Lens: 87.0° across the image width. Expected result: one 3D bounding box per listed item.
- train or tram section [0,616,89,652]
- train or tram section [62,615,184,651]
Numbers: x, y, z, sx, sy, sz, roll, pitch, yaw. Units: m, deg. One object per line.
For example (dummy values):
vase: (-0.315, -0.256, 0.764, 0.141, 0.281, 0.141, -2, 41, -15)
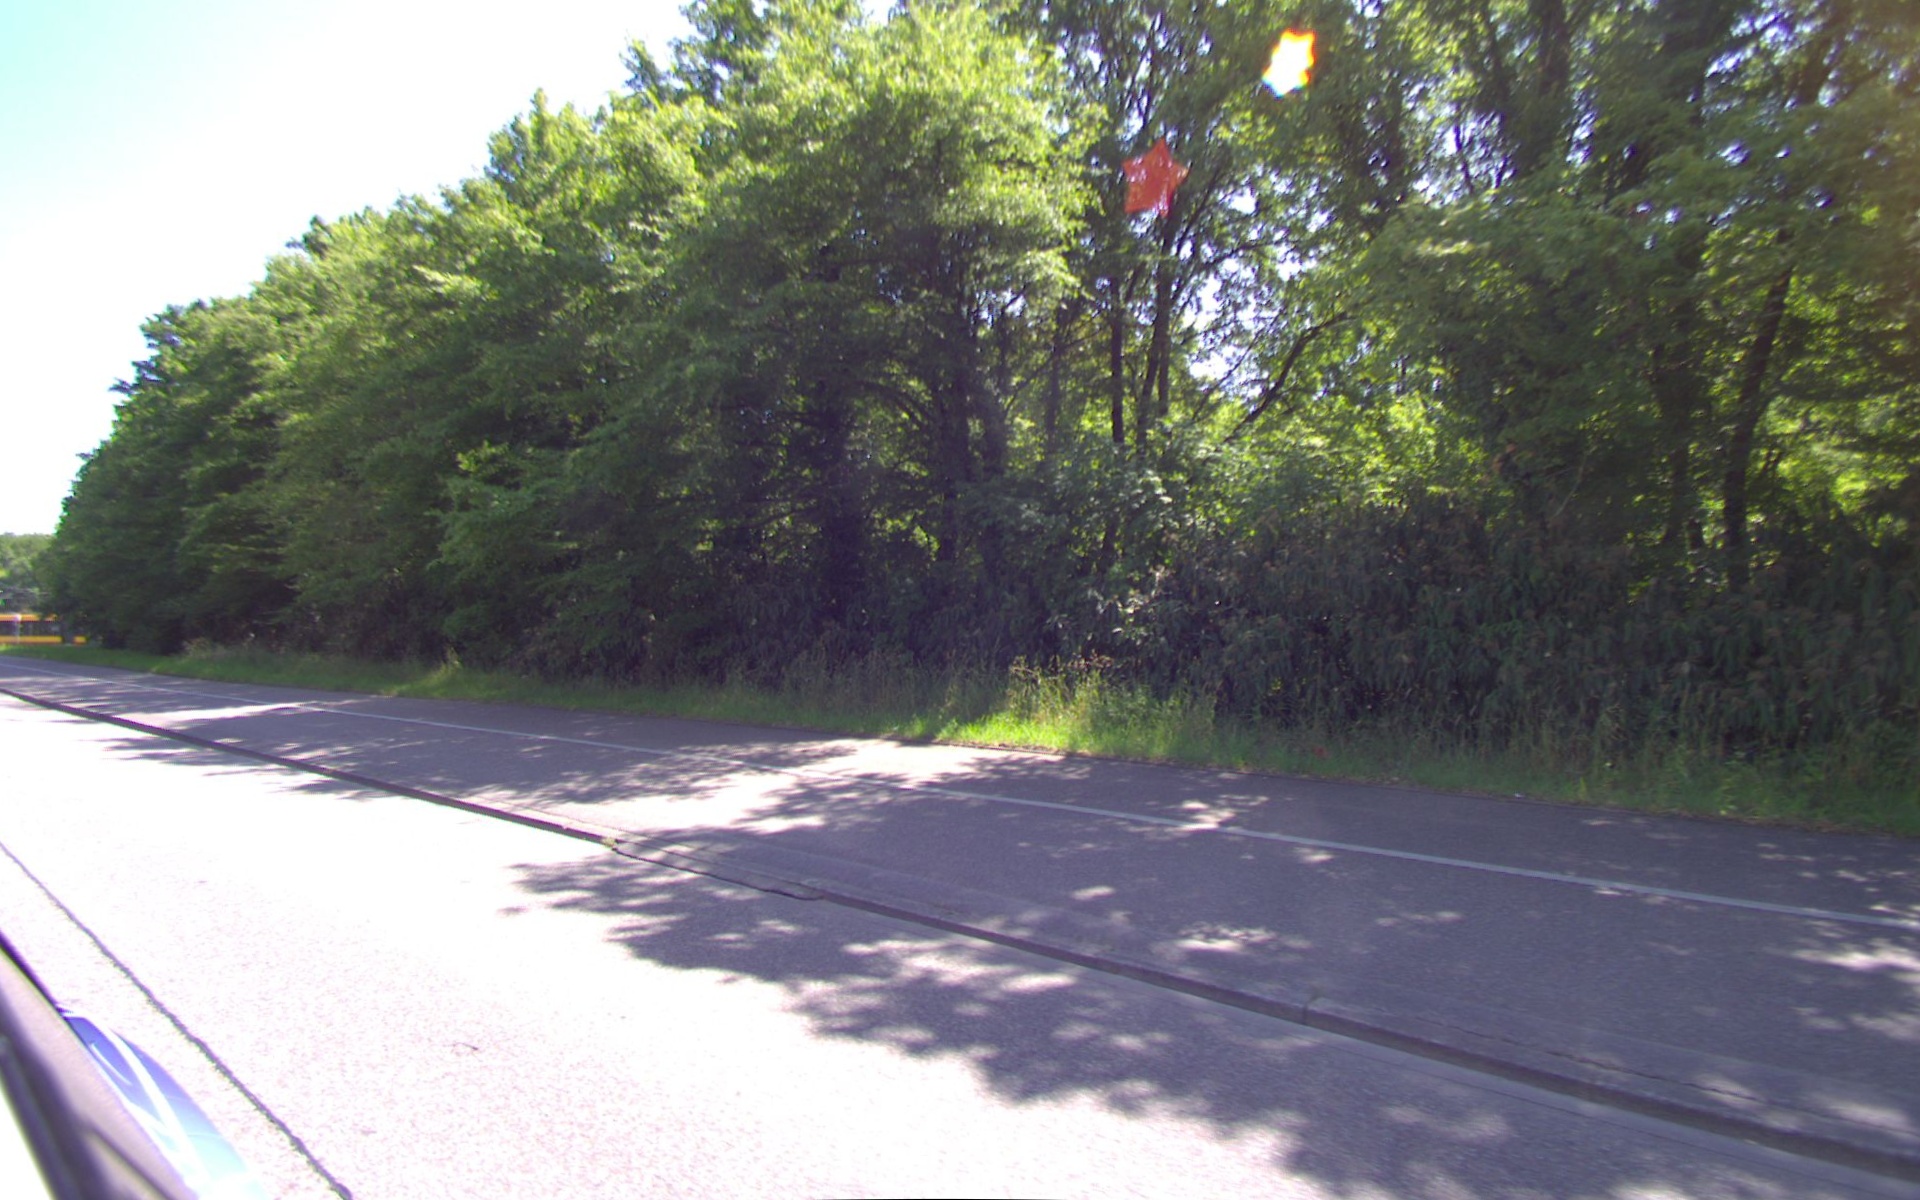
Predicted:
train or tram section: (-93.624, 3.387, 101.828, 10.725, 3.492, 2.645, -1, -1, 8)
train or tram section: (-84.658, 3.283, 102.573, 9.191, 3.492, 2.791, 0, -1, -18)
